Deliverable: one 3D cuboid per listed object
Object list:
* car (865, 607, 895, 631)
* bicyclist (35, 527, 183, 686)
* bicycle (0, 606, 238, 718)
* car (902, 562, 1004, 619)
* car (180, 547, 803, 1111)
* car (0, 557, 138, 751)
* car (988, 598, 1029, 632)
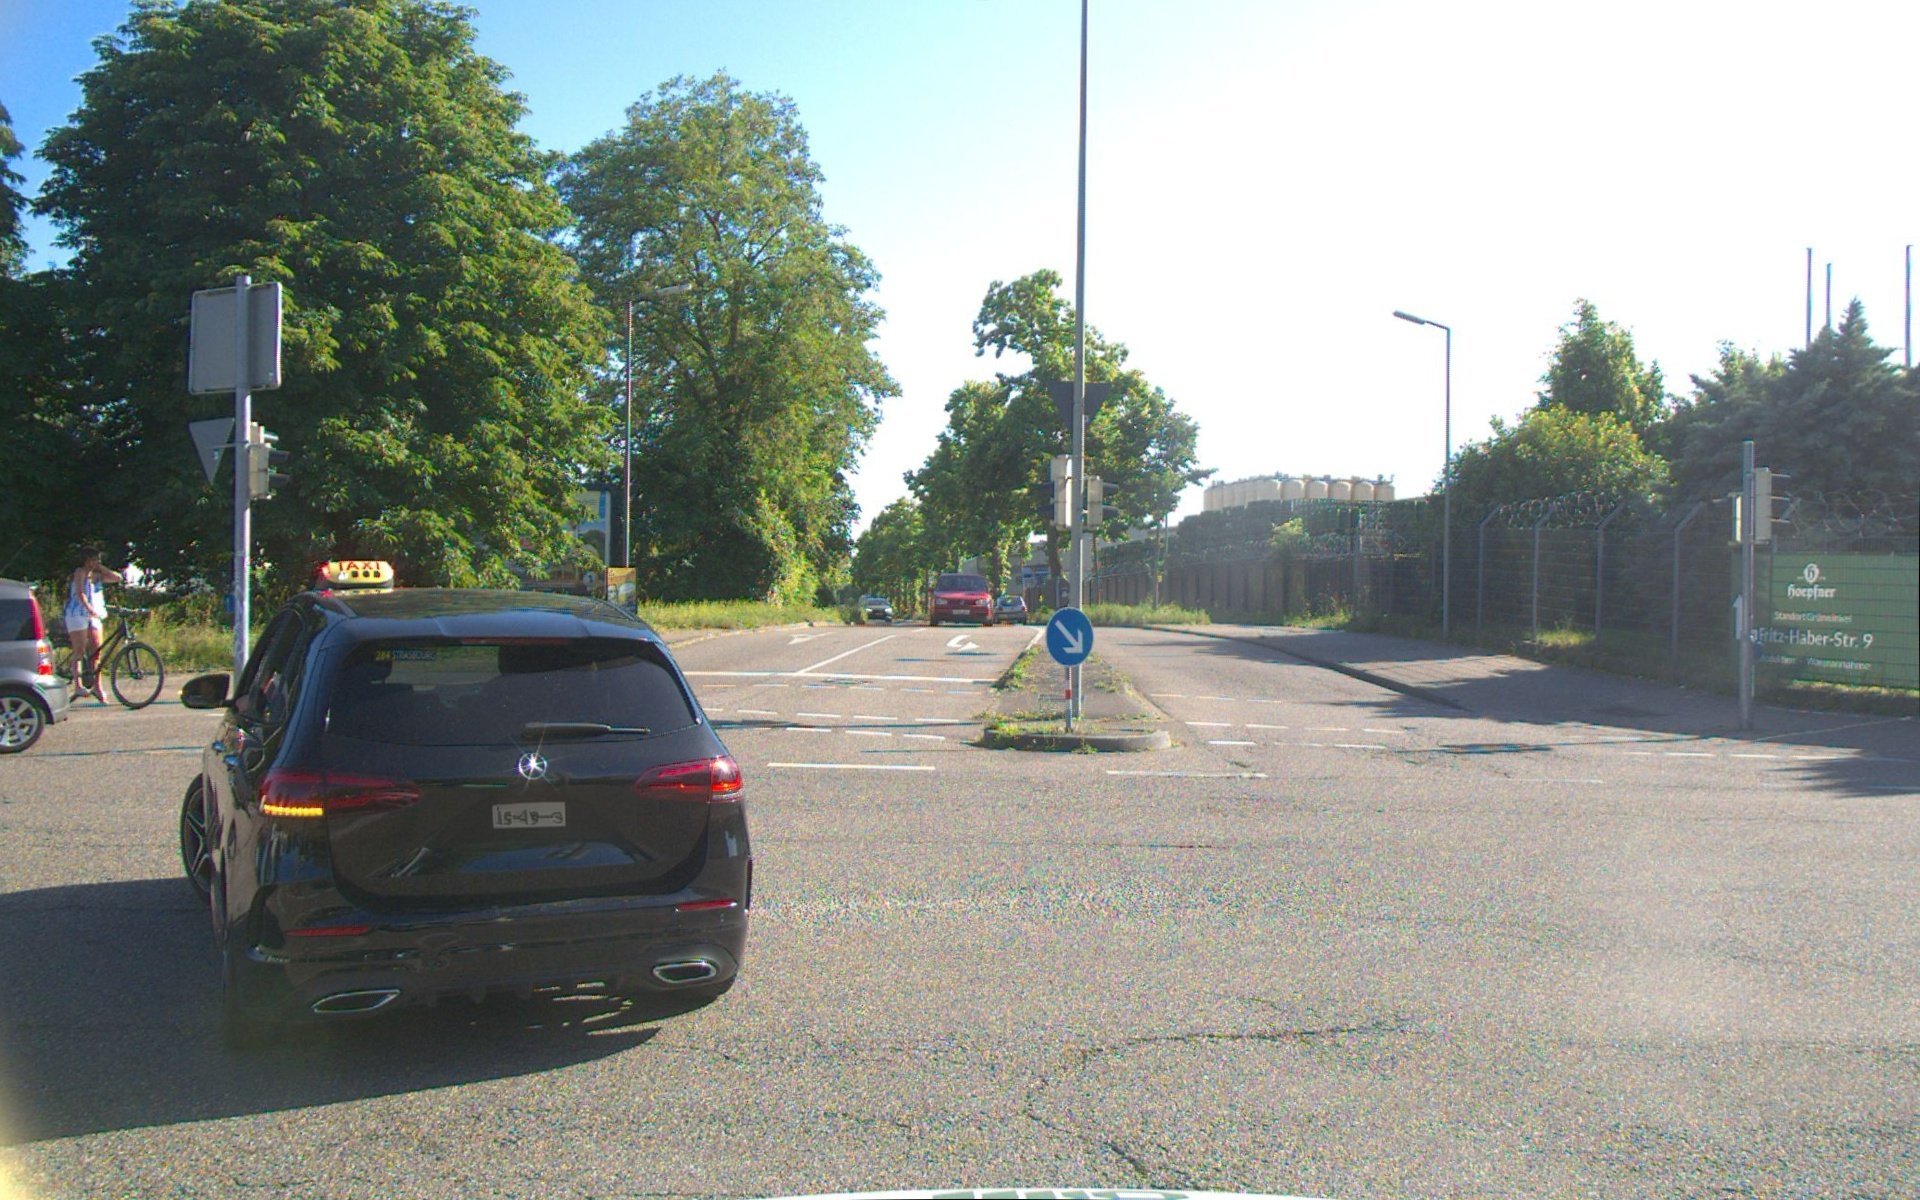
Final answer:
[{"bbox_3d":[-5.039,1.175,104.234,1.821,1.495,4.135,0,0,-4],"label":"car"},{"bbox_3d":[-9.513,0.068,18.515,1.162,1.722,0.892,1,-1,20],"label":"bicyclist"},{"bbox_3d":[-9.579,0.669,18.526,2.882,1.145,0.903,1,-1,20],"label":"bicycle"},{"bbox_3d":[-0.249,-0.239,45.321,1.827,1.495,4.122,0,0,-15],"label":"car"},{"bbox_3d":[-2.214,0.652,6.935,1.749,1.620,3.953,1,0,-28],"label":"car"},{"bbox_3d":[-9.489,0.461,14.330,3.962,1.668,1.785,0,0,-40],"label":"car"},{"bbox_3d":[2.446,0.758,84.018,1.656,1.660,3.126,0,0,-7],"label":"car"}]
